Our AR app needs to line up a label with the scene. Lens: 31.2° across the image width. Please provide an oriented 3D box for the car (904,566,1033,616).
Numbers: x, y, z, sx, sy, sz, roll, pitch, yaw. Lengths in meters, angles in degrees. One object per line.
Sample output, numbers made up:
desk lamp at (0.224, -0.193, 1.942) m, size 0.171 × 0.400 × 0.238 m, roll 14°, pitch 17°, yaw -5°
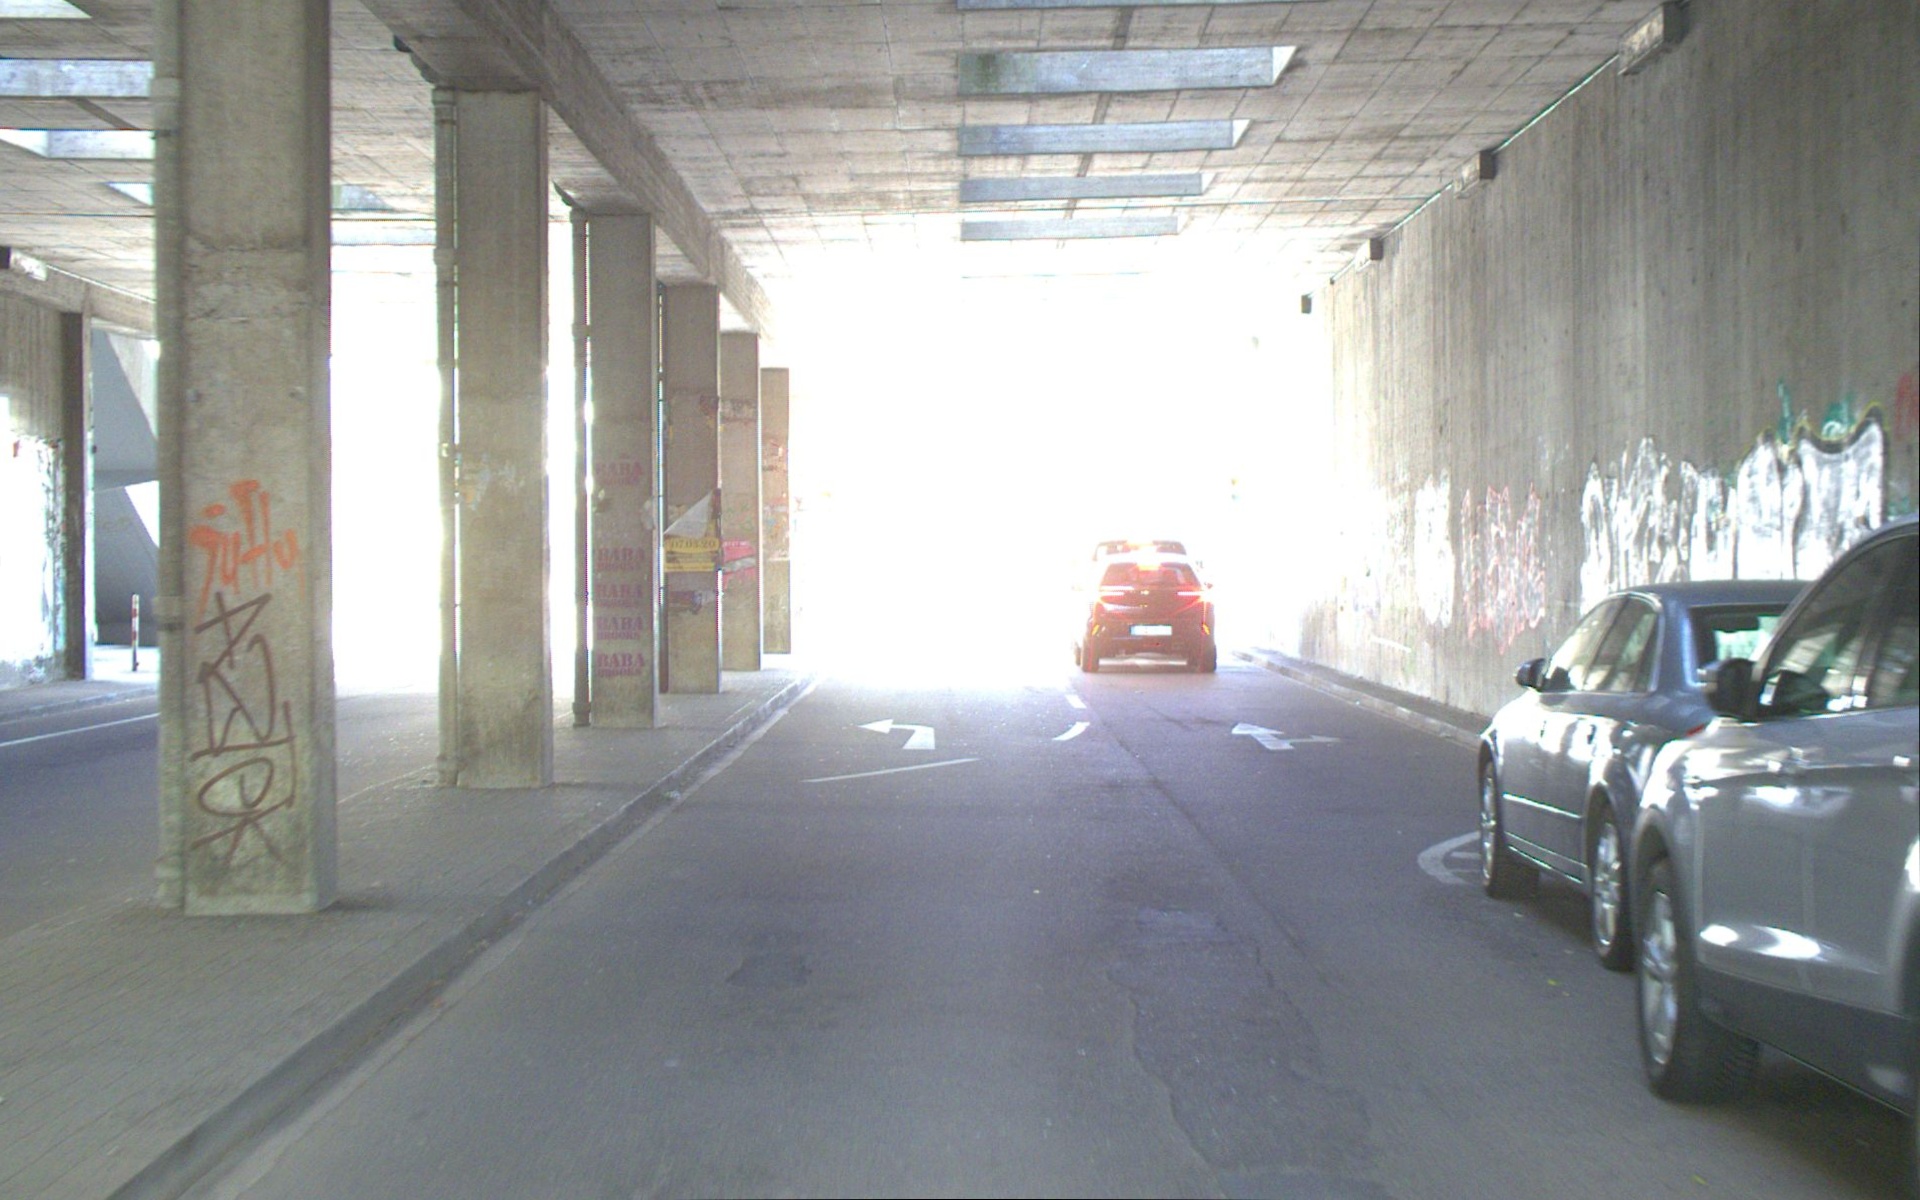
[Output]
car at (0.275, -0.281, 108.986) m, size 3.987 × 1.568 × 1.639 m, roll 0°, pitch 0°, yaw 4°

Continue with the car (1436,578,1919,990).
car at (3.113, 0.618, 13.906) m, size 1.701 × 1.370 × 4.374 m, roll 0°, pitch 1°, yaw -1°

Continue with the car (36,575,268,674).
car at (-17.243, 0.505, 73.505) m, size 4.479 × 2.006 × 2.000 m, roll 0°, pitch 3°, yaw 0°

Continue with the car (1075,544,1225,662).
car at (2.506, 0.003, 46.190) m, size 1.826 × 1.496 × 4.211 m, roll 0°, pitch 1°, yaw 1°

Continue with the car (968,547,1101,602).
car at (2.468, -0.850, 113.226) m, size 4.152 × 1.733 × 1.999 m, roll -1°, pitch 1°, yaw 8°

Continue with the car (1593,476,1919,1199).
car at (2.836, 0.560, 8.021) m, size 1.853 × 1.660 × 4.371 m, roll 0°, pitch 1°, yaw -1°

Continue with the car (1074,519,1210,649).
car at (2.741, -0.269, 52.626) m, size 1.815 × 1.876 × 4.586 m, roll -1°, pitch 1°, yaw 0°
